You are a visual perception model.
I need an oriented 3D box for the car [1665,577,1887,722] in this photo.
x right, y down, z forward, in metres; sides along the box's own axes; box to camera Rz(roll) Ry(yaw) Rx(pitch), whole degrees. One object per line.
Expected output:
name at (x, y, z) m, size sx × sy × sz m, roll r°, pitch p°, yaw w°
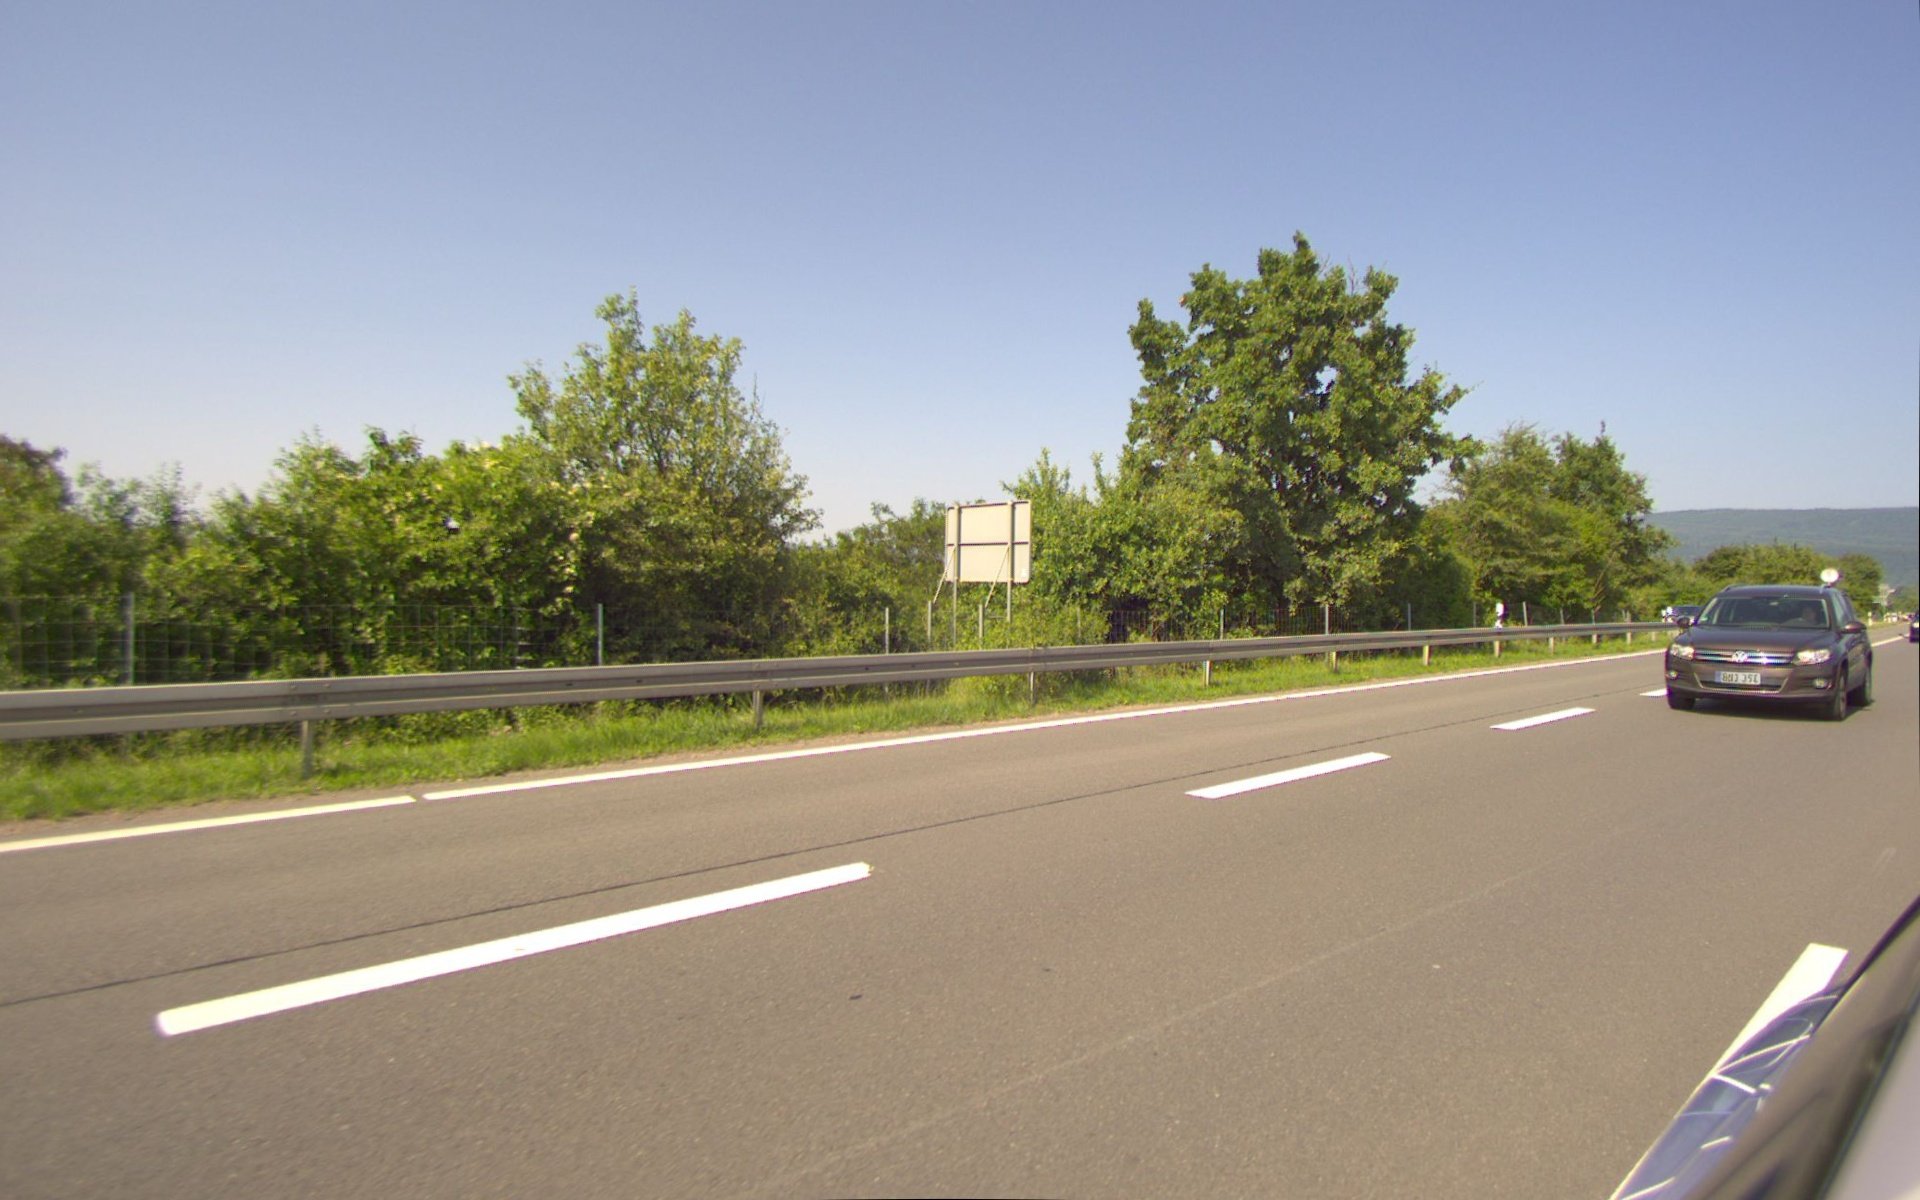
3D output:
car at (11.158, 0.557, 13.740) m, size 4.077 × 1.667 × 1.787 m, roll 0°, pitch 0°, yaw -43°
